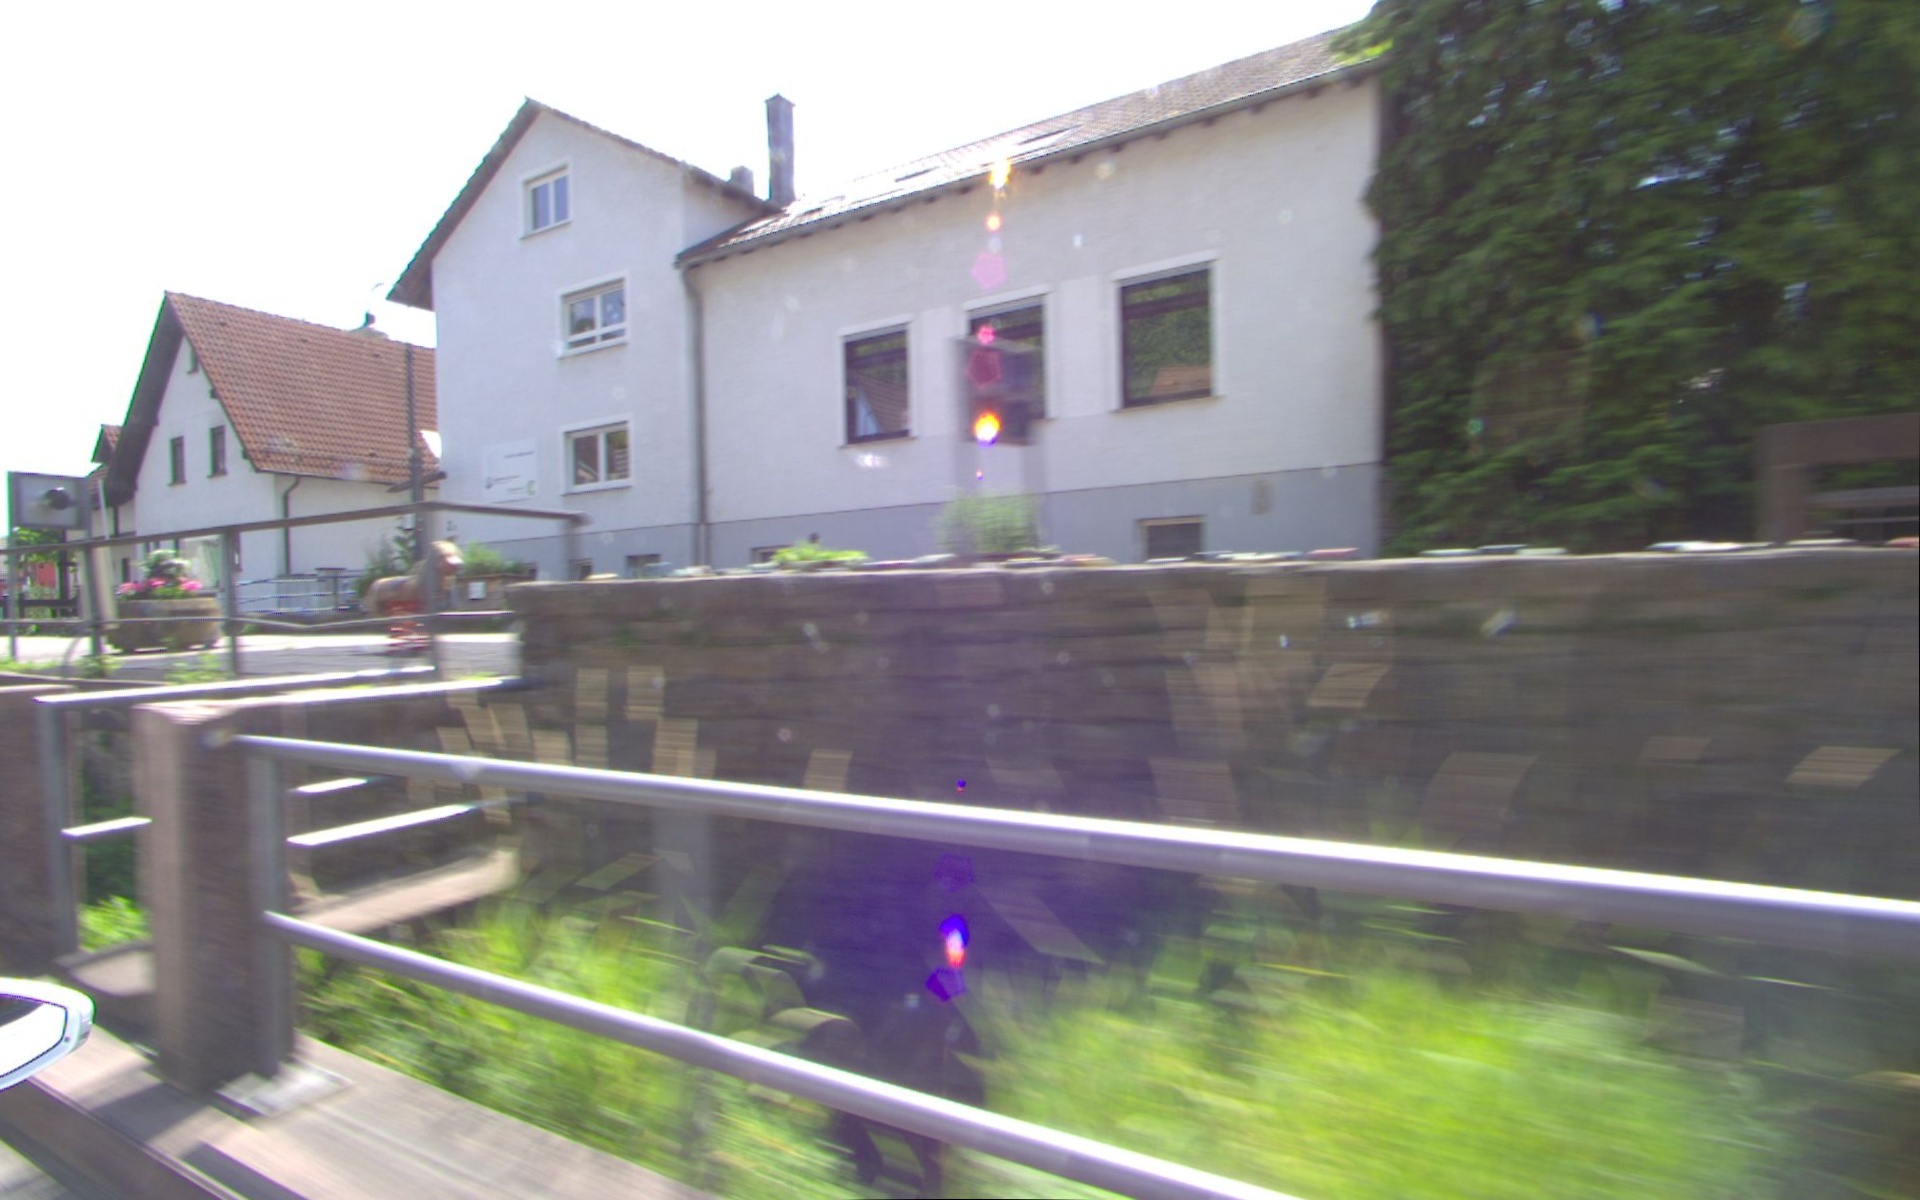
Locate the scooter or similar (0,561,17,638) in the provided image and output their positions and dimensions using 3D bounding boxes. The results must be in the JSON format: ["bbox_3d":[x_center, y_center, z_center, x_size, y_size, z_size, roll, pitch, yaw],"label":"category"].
[{"bbox_3d":[-15.306,0.020,15.447,1.786,1.157,0.640,-2,1,32],"label":"scooter or similar"}]
